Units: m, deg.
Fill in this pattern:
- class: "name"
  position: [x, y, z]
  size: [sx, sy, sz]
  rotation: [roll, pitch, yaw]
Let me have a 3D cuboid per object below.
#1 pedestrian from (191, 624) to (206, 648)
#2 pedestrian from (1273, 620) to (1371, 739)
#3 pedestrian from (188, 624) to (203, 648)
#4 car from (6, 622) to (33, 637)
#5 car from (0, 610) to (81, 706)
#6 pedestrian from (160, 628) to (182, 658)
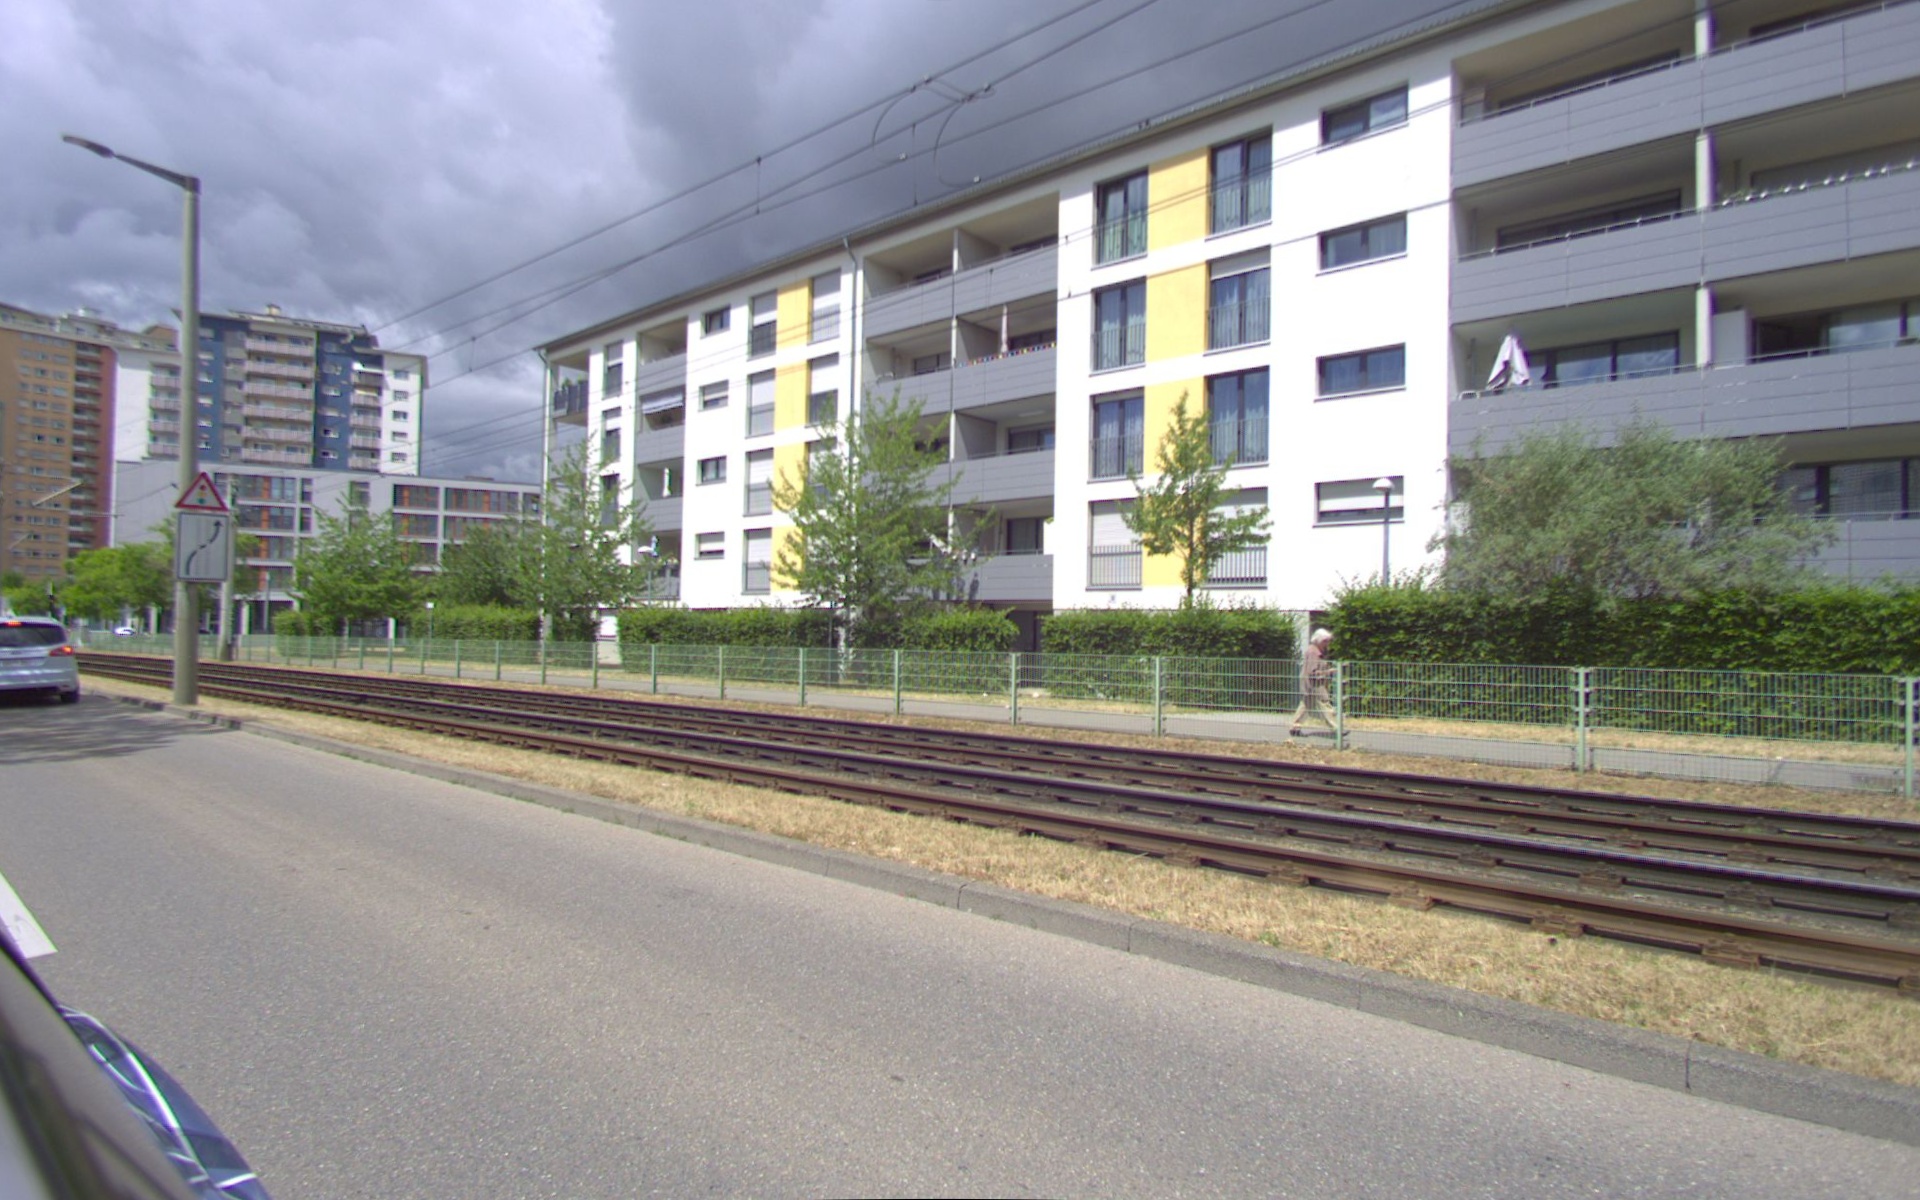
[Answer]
- class: "pedestrian"
  position: [-54.157, 2.576, 71.971]
  size: [0.538, 1.666, 0.740]
  rotation: [-1, -2, 40]
- class: "pedestrian"
  position: [4.755, 1.007, 13.300]
  size: [0.995, 1.494, 0.788]
  rotation: [-1, -2, 40]
- class: "pedestrian"
  position: [-54.844, 2.589, 72.603]
  size: [0.538, 1.666, 0.740]
  rotation: [-1, -2, 40]
- class: "car"
  position: [-108.233, 3.365, 116.466]
  size: [3.800, 1.672, 1.759]
  rotation: [-1, -2, 40]
- class: "car"
  position: [-18.020, 1.026, 18.880]
  size: [4.599, 1.626, 1.798]
  rotation: [-1, -1, 41]
- class: "pedestrian"
  position: [-43.592, 2.352, 55.921]
  size: [0.937, 1.625, 0.746]
  rotation: [-1, -2, 40]
